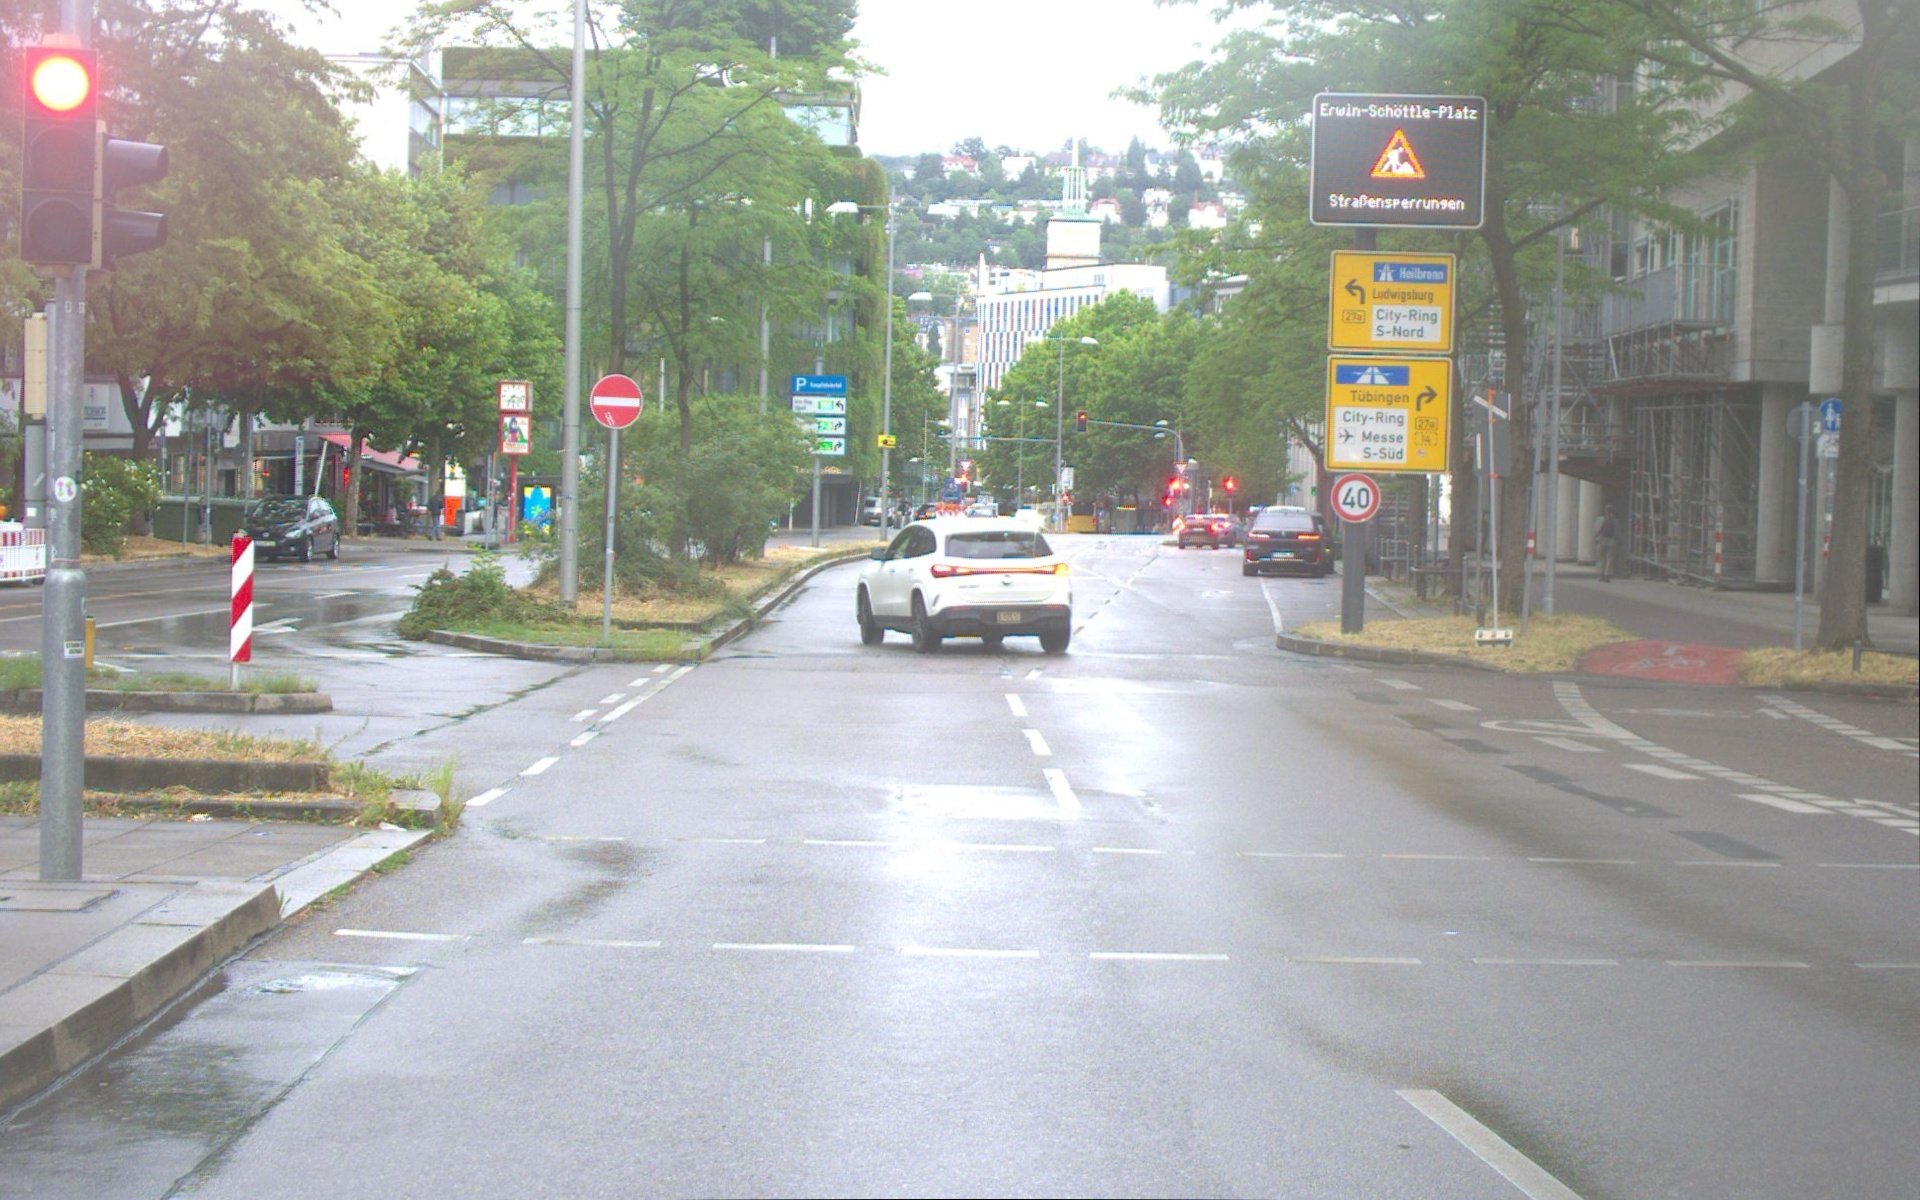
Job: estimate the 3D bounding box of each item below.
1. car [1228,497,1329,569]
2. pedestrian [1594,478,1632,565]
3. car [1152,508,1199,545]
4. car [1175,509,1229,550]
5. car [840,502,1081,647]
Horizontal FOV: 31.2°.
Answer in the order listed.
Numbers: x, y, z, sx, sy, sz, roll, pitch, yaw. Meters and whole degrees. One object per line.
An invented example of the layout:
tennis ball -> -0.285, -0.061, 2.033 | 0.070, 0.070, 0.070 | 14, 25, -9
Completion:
car -> 7.758, -1.636, 83.428 | 2.339, 1.685, 3.999 | 1, 2, 6
pedestrian -> 14.480, -1.745, 76.276 | 0.775, 1.914, 0.702 | 1, 0, 10
car -> 10.453, -3.539, 166.803 | 1.993, 1.730, 4.000 | 1, 0, -1
car -> 10.767, -3.132, 153.113 | 1.993, 1.718, 4.000 | 1, 0, -1
car -> -0.056, -0.345, 42.338 | 1.828, 1.634, 4.302 | 2, 1, -16
